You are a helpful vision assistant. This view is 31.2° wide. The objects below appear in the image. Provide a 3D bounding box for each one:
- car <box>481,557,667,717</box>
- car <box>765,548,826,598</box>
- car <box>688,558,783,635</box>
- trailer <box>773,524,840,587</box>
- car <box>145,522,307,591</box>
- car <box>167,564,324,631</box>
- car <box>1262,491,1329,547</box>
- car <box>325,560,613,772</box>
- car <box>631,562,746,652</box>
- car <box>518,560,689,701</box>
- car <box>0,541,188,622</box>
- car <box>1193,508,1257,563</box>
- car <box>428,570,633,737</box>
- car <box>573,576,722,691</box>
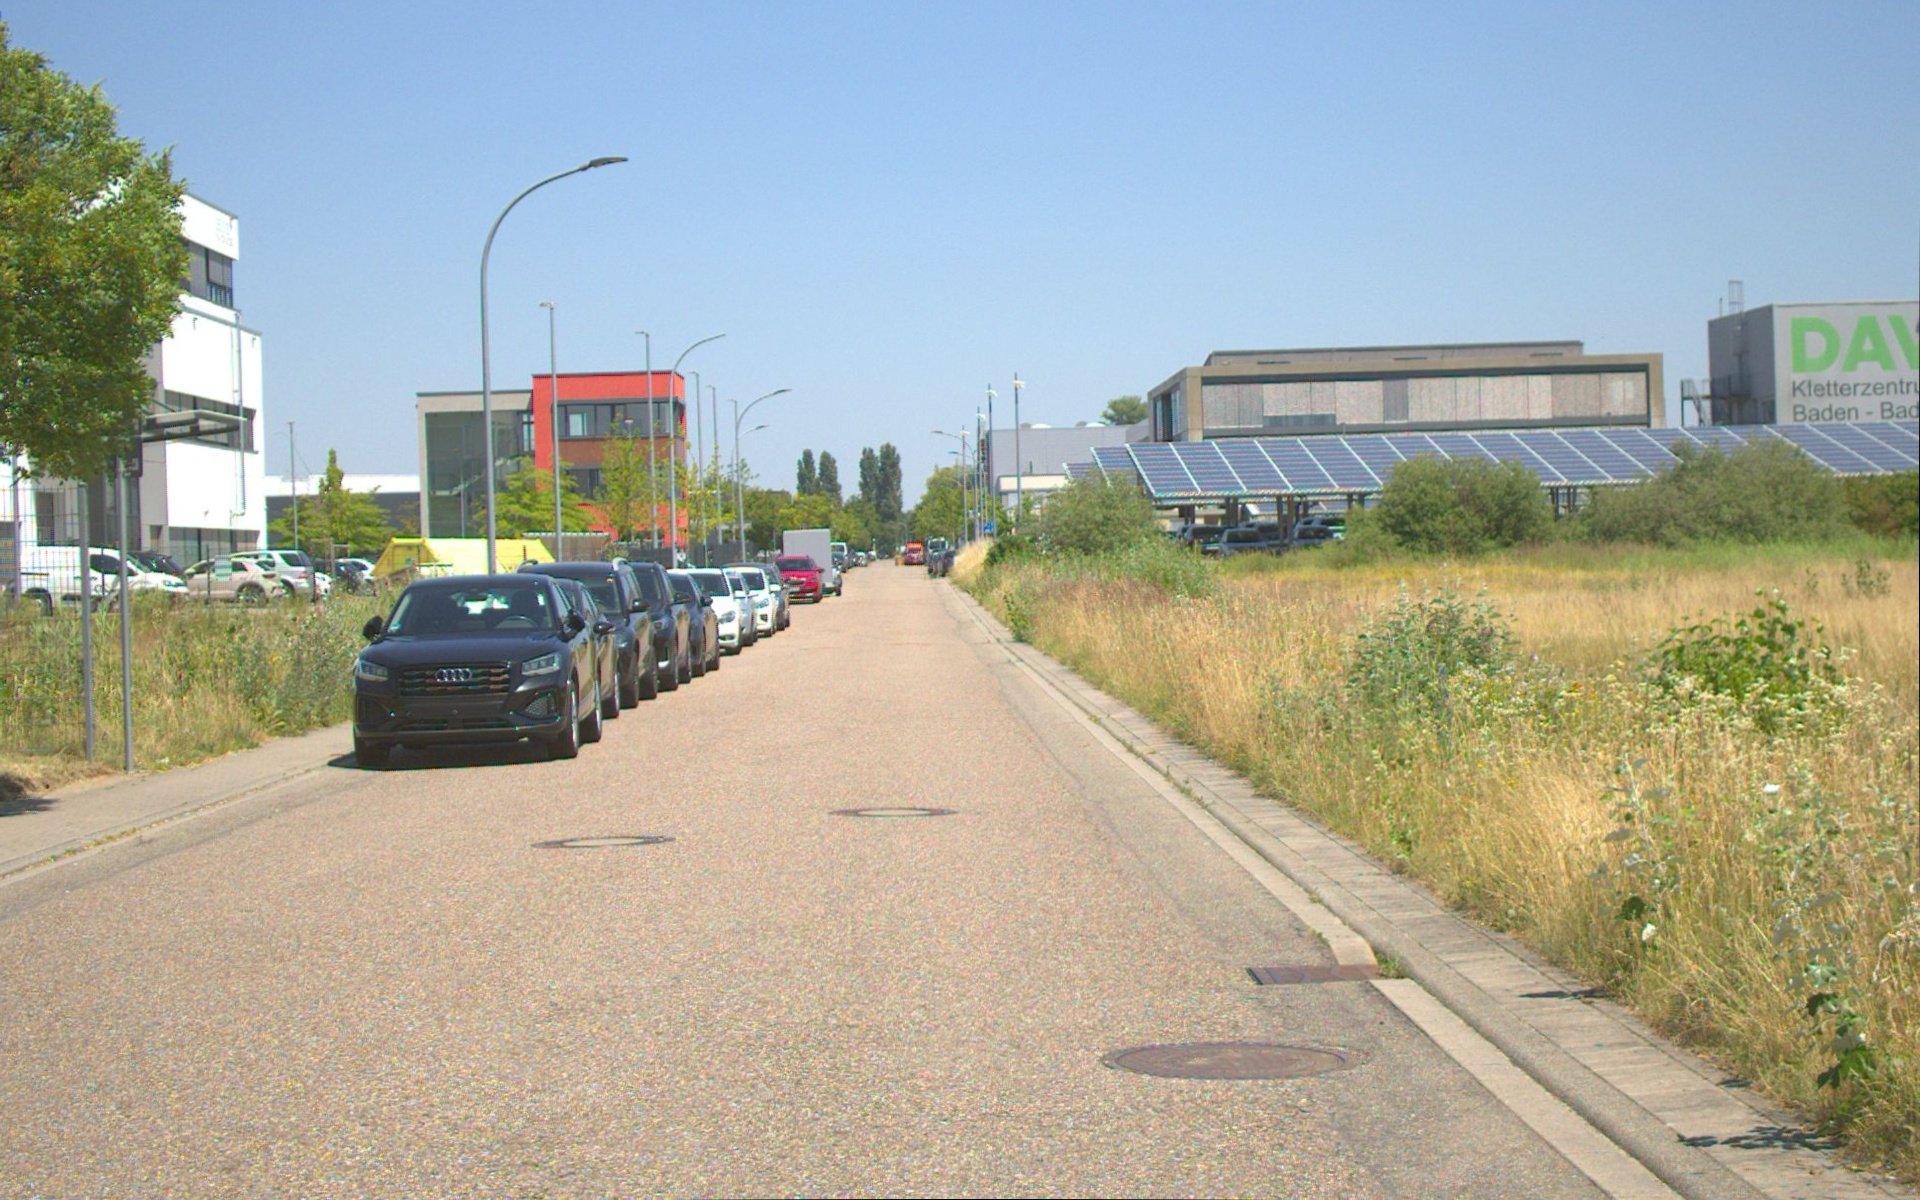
[{"bbox_3d":[-4.394,0.377,39.658,1.677,1.657,4.236,-2,1,-1],"label":"car"},{"bbox_3d":[-5.312,-0.884,111.487,1.787,1.515,3.983,-2,1,-1],"label":"car"},{"bbox_3d":[-4.768,-0.093,73.576,1.787,1.515,3.983,-2,1,-1],"label":"car"},{"bbox_3d":[-5.466,-1.589,122.880,2.201,2.130,4.286,-2,1,-1],"label":"trailer"},{"bbox_3d":[-22.779,-1.347,106.746,4.528,1.936,2.031,-2,1,0],"label":"car"},{"bbox_3d":[-22.764,-0.093,109.705,4.528,1.936,2.031,-2,1,0],"label":"car"},{"bbox_3d":[12.683,-3.054,130.283,1.993,2.007,4.000,-2,1,-1],"label":"car"},{"bbox_3d":[-4.071,0.495,29.118,1.926,1.562,4.190,-2,1,-2],"label":"car"},{"bbox_3d":[-4.880,0.104,62.267,1.787,1.515,3.983,-2,1,-1],"label":"car"},{"bbox_3d":[-4.597,0.350,44.899,1.768,1.657,4.552,-2,1,-1],"label":"car"},{"bbox_3d":[-22.573,-0.489,89.312,4.528,1.936,2.031,-2,1,0],"label":"car"},{"bbox_3d":[10.035,-2.432,130.453,1.993,2.007,4.000,-2,1,-1],"label":"car"},{"bbox_3d":[-4.266,0.496,34.621,1.590,1.487,3.833,-2,1,-1],"label":"car"},{"bbox_3d":[-4.574,0.454,50.905,1.768,1.480,5.015,-2,1,-1],"label":"car"}]
